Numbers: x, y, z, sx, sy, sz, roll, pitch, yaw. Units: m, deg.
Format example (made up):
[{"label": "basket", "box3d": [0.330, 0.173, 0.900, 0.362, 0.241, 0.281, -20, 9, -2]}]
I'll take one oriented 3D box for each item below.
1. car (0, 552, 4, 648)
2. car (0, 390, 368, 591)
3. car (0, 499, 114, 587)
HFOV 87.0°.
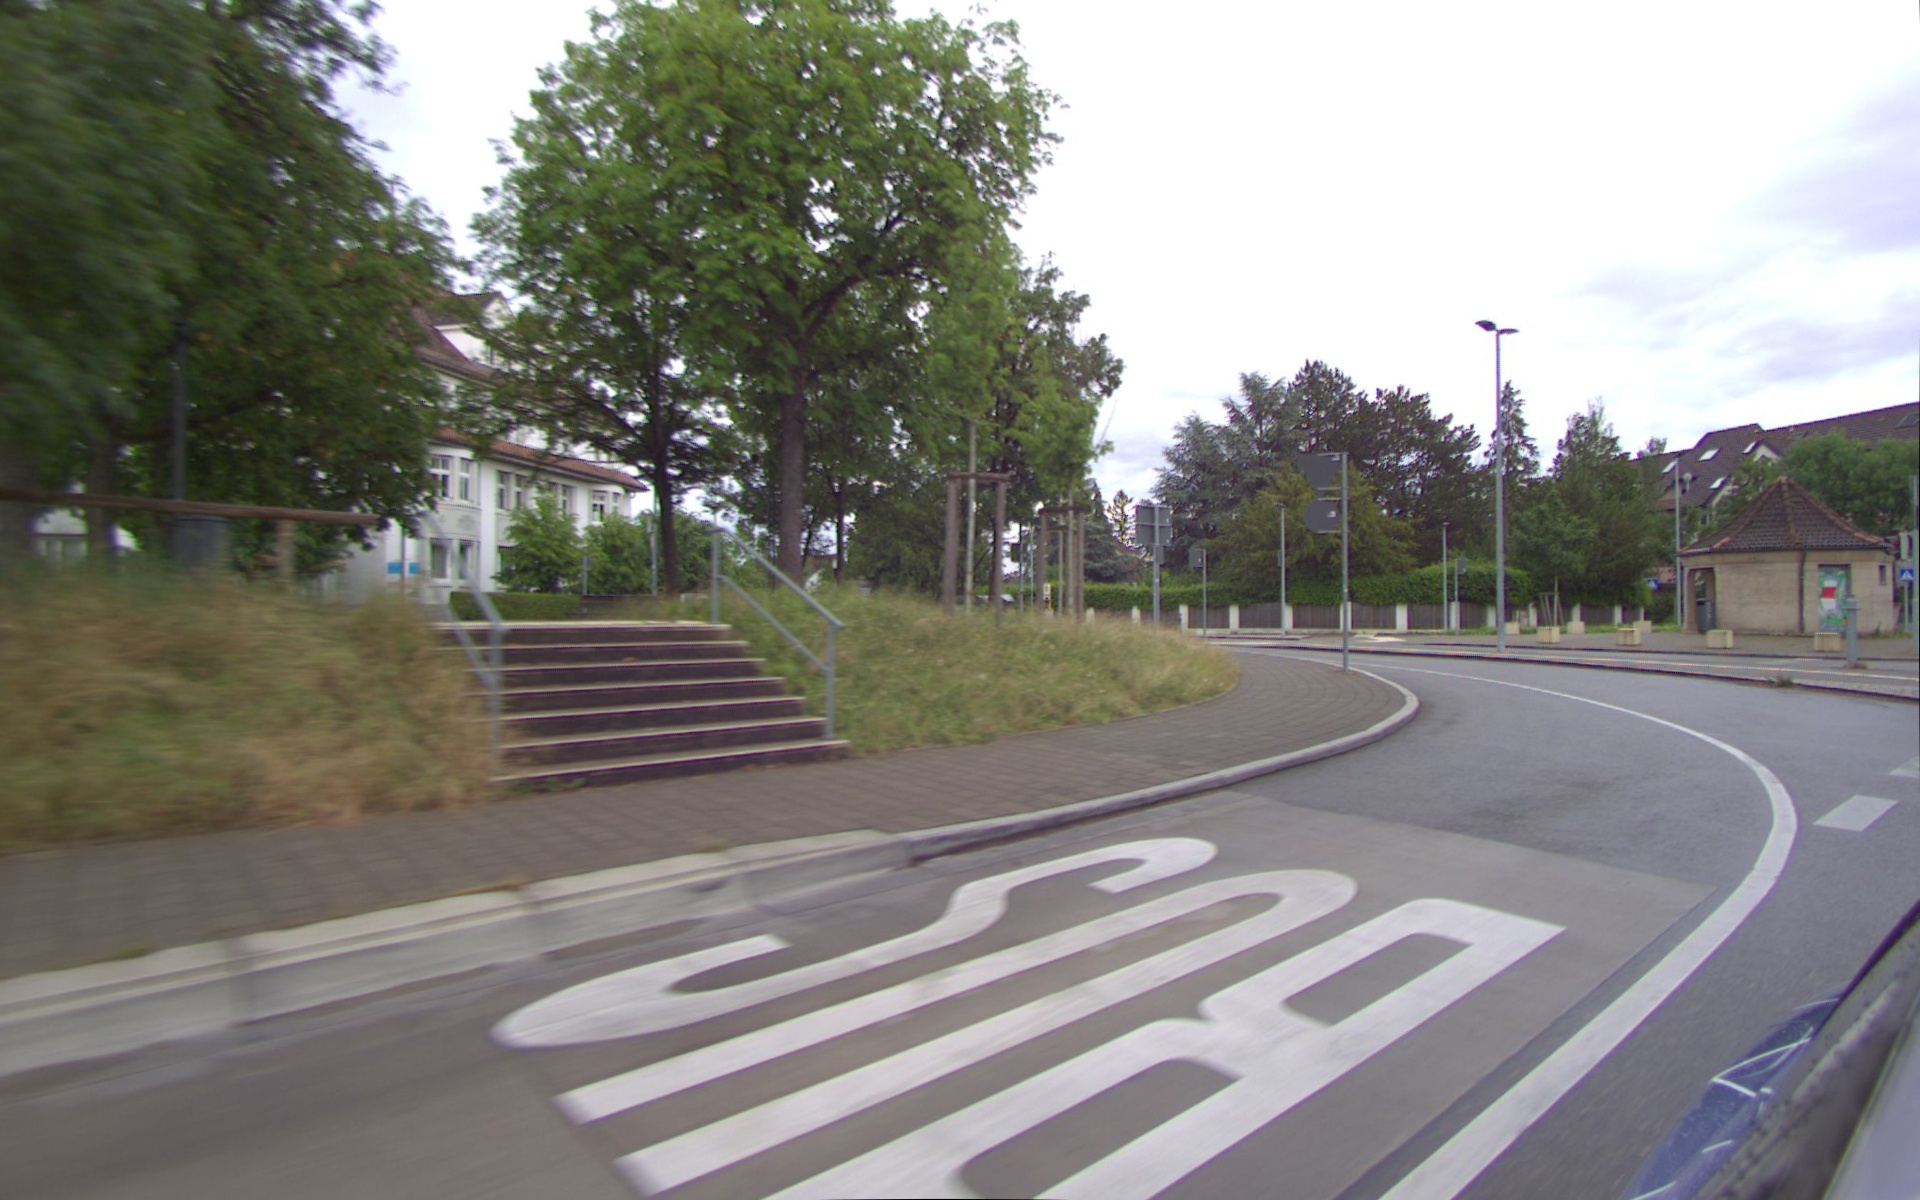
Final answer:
[{"label": "car", "box3d": [-17.962, -0.036, 15.950, 3.924, 1.684, 1.999, 0, -3, -36]}, {"label": "car", "box3d": [-8.458, -1.003, 10.430, 3.924, 1.684, 1.999, 0, -3, -36]}, {"label": "car", "box3d": [-18.008, -1.005, 18.356, 3.994, 1.499, 1.890, -1, -1, -38]}]
